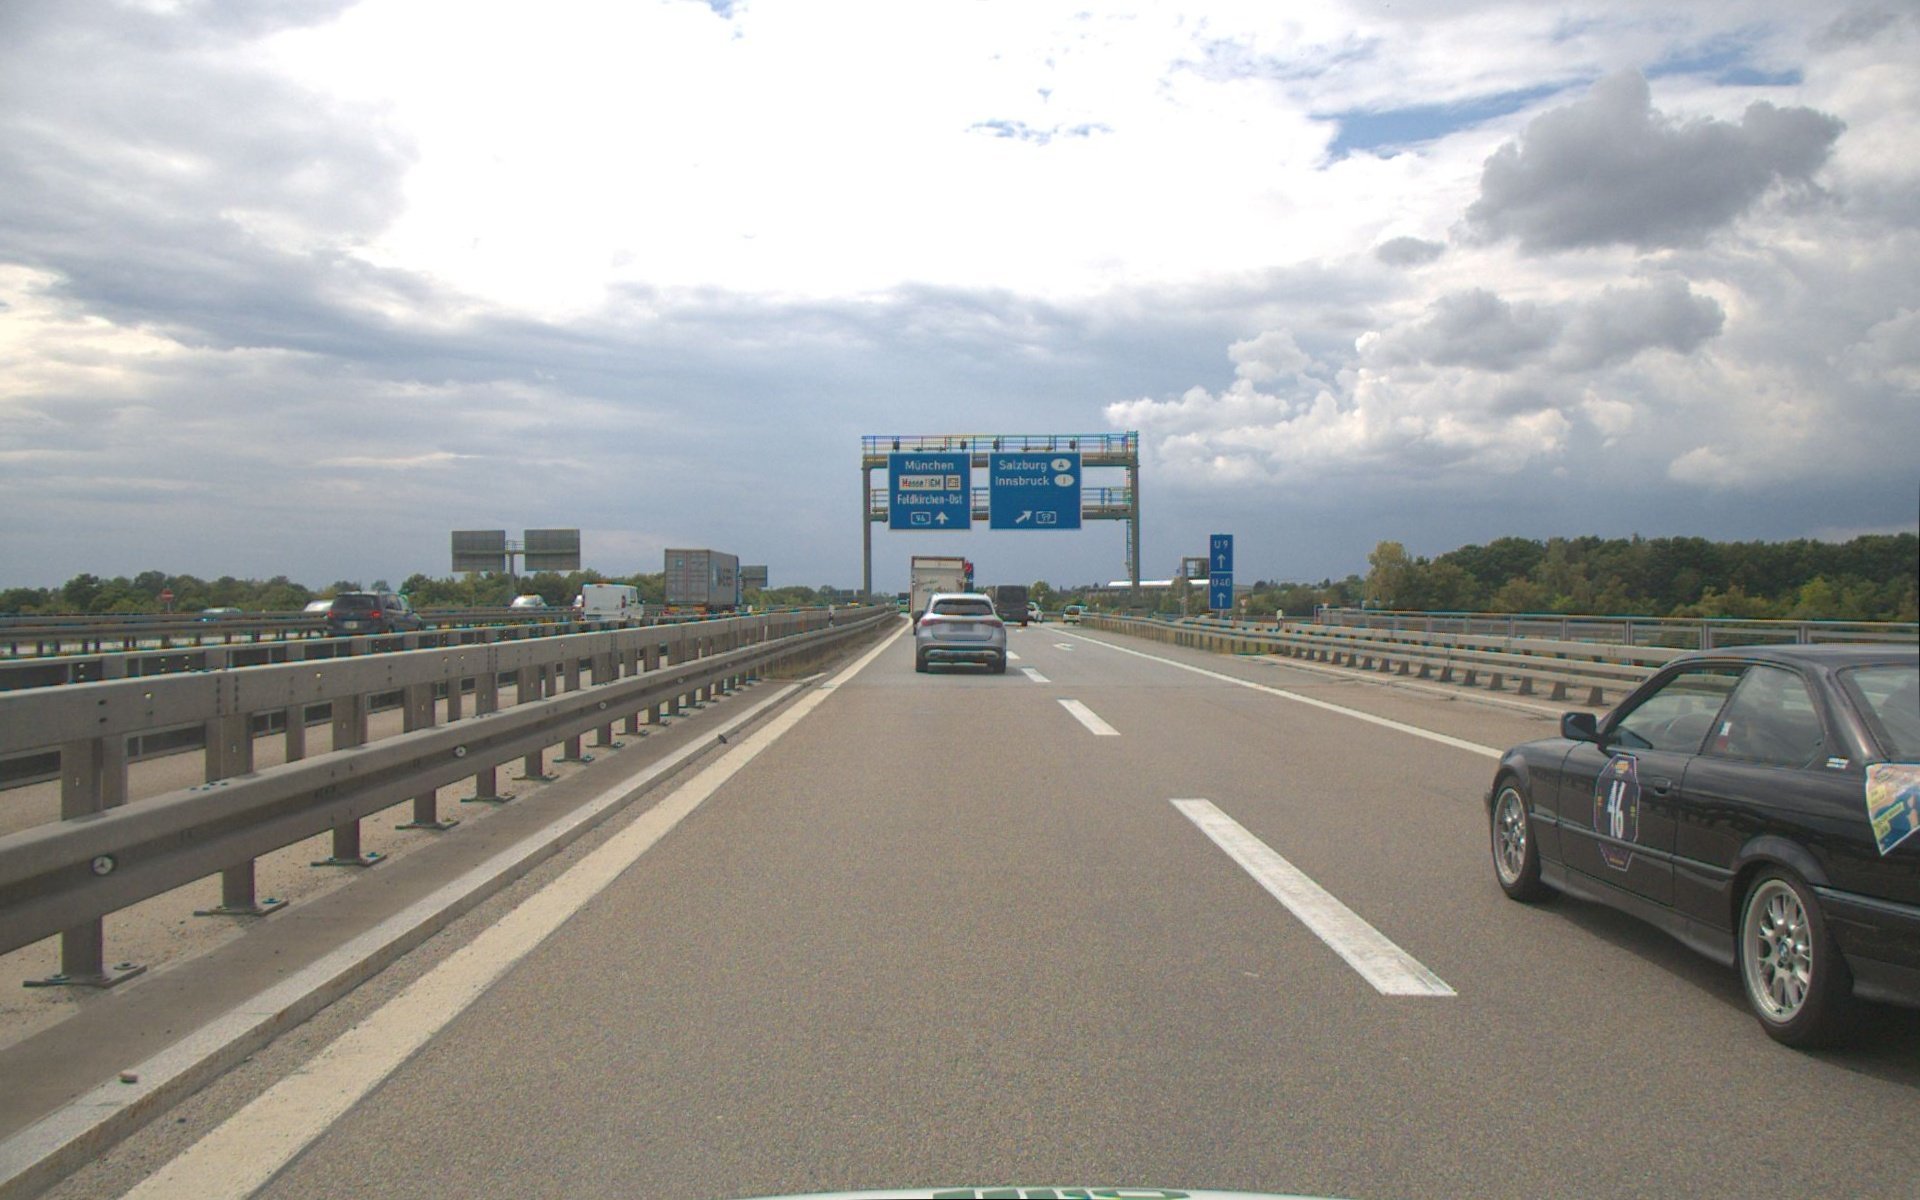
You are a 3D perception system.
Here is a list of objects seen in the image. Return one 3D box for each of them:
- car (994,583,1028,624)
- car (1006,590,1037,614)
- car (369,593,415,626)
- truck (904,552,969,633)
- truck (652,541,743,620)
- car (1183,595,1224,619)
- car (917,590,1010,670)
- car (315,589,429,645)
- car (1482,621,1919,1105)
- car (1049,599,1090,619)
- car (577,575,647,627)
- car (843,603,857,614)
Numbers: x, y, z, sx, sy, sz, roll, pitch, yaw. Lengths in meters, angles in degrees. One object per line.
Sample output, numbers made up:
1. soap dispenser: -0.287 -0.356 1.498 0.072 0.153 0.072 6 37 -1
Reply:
1. car: 2.952 0.165 96.672 1.867 2.301 4.649 1 1 1
2. car: 4.687 0.127 125.222 1.951 1.739 4.003 1 1 7
3. car: -42.895 0.699 125.092 1.953 2.346 4.489 1 1 -1
4. truck: -0.996 -0.238 70.304 2.516 3.181 8.632 1 -1 -1
5. truck: -14.904 -1.109 95.358 3.119 4.089 16.070 1 1 -2
6. car: 23.834 0.718 161.862 3.964 2.048 1.757 4 0 -41
7. car: 0.010 0.587 34.910 1.783 1.541 3.998 1 1 -2
8. car: -17.627 0.468 49.825 1.843 1.573 4.614 1 1 -1
9. car: 3.654 0.804 6.814 1.669 1.303 4.366 1 1 1
10. car: 9.885 0.792 149.073 1.959 1.739 3.987 1 1 34
11. car: -14.359 0.003 68.468 1.953 2.049 4.374 1 1 -1
12. car: -17.057 1.277 256.131 1.790 1.590 4.000 0 1 0
